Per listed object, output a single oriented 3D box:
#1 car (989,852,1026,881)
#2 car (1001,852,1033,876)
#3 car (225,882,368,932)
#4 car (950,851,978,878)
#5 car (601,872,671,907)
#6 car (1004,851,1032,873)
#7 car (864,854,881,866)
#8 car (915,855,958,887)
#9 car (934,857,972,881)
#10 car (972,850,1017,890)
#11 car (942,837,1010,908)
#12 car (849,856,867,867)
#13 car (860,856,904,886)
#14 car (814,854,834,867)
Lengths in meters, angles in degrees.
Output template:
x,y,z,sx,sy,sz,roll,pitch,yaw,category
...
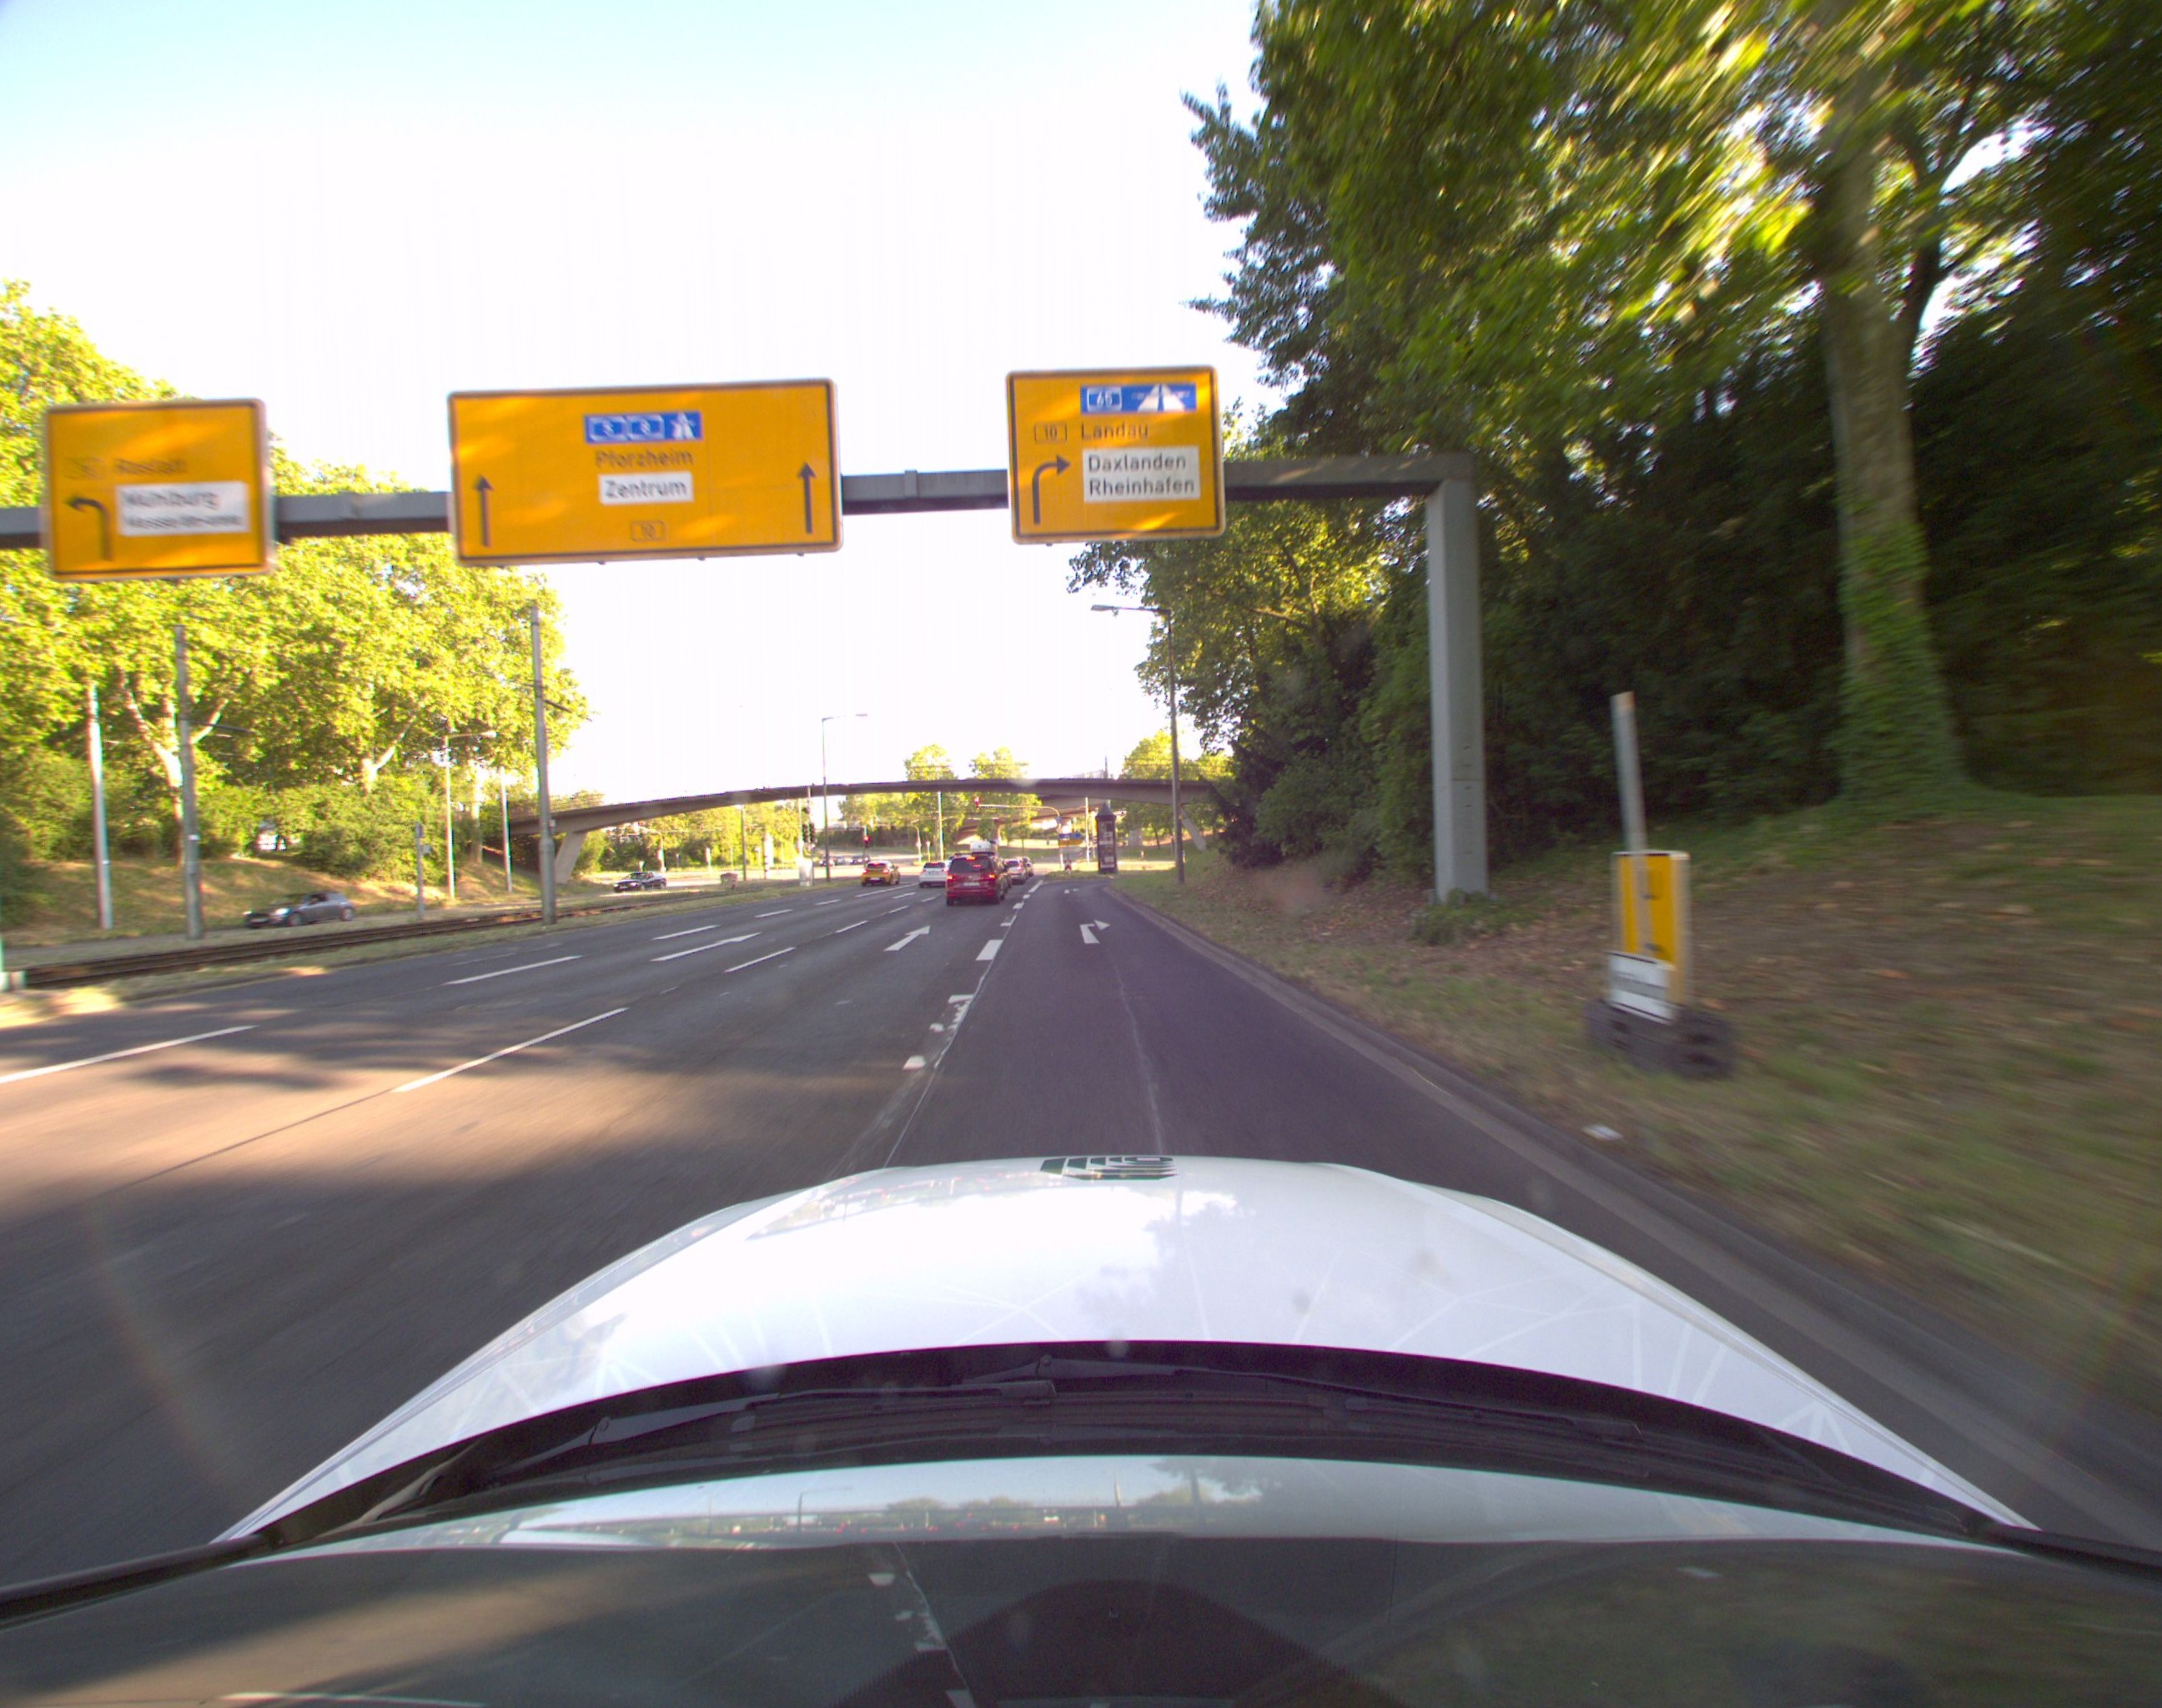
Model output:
x,y,z,sx,sy,sz,roll,pitch,yaw,category
-4.299,0.725,48.085,1.788,1.481,3.997,-4,1,-2,car
-4.246,0.655,54.490,1.788,1.382,4.473,-4,1,-2,car
-33.087,2.179,34.527,1.989,1.681,4.187,-4,0,-2,car
-8.667,0.746,60.569,1.790,1.792,4.815,-4,1,-7,car
-30.371,2.404,55.756,1.911,2.013,4.519,-4,1,4,car
-4.668,0.592,60.795,1.788,1.442,3.997,-4,1,-2,car
-33.346,0.980,130.116,1.874,1.771,3.995,-1,1,-3,car
-7.996,0.917,45.493,1.658,1.565,4.188,-4,1,-2,car
-8.177,0.931,52.388,1.736,1.432,4.411,-1,1,0,car
-4.246,0.759,40.387,1.788,1.749,3.997,-4,1,-2,car
-3.506,0.571,27.786,1.788,2.105,3.997,-4,1,-2,car
-33.775,1.165,123.460,1.874,1.575,3.670,-1,1,-3,car
-11.848,0.996,48.637,1.658,1.565,3.997,-4,1,-2,car
-38.069,0.927,120.632,1.874,1.771,3.995,-1,1,-3,car
